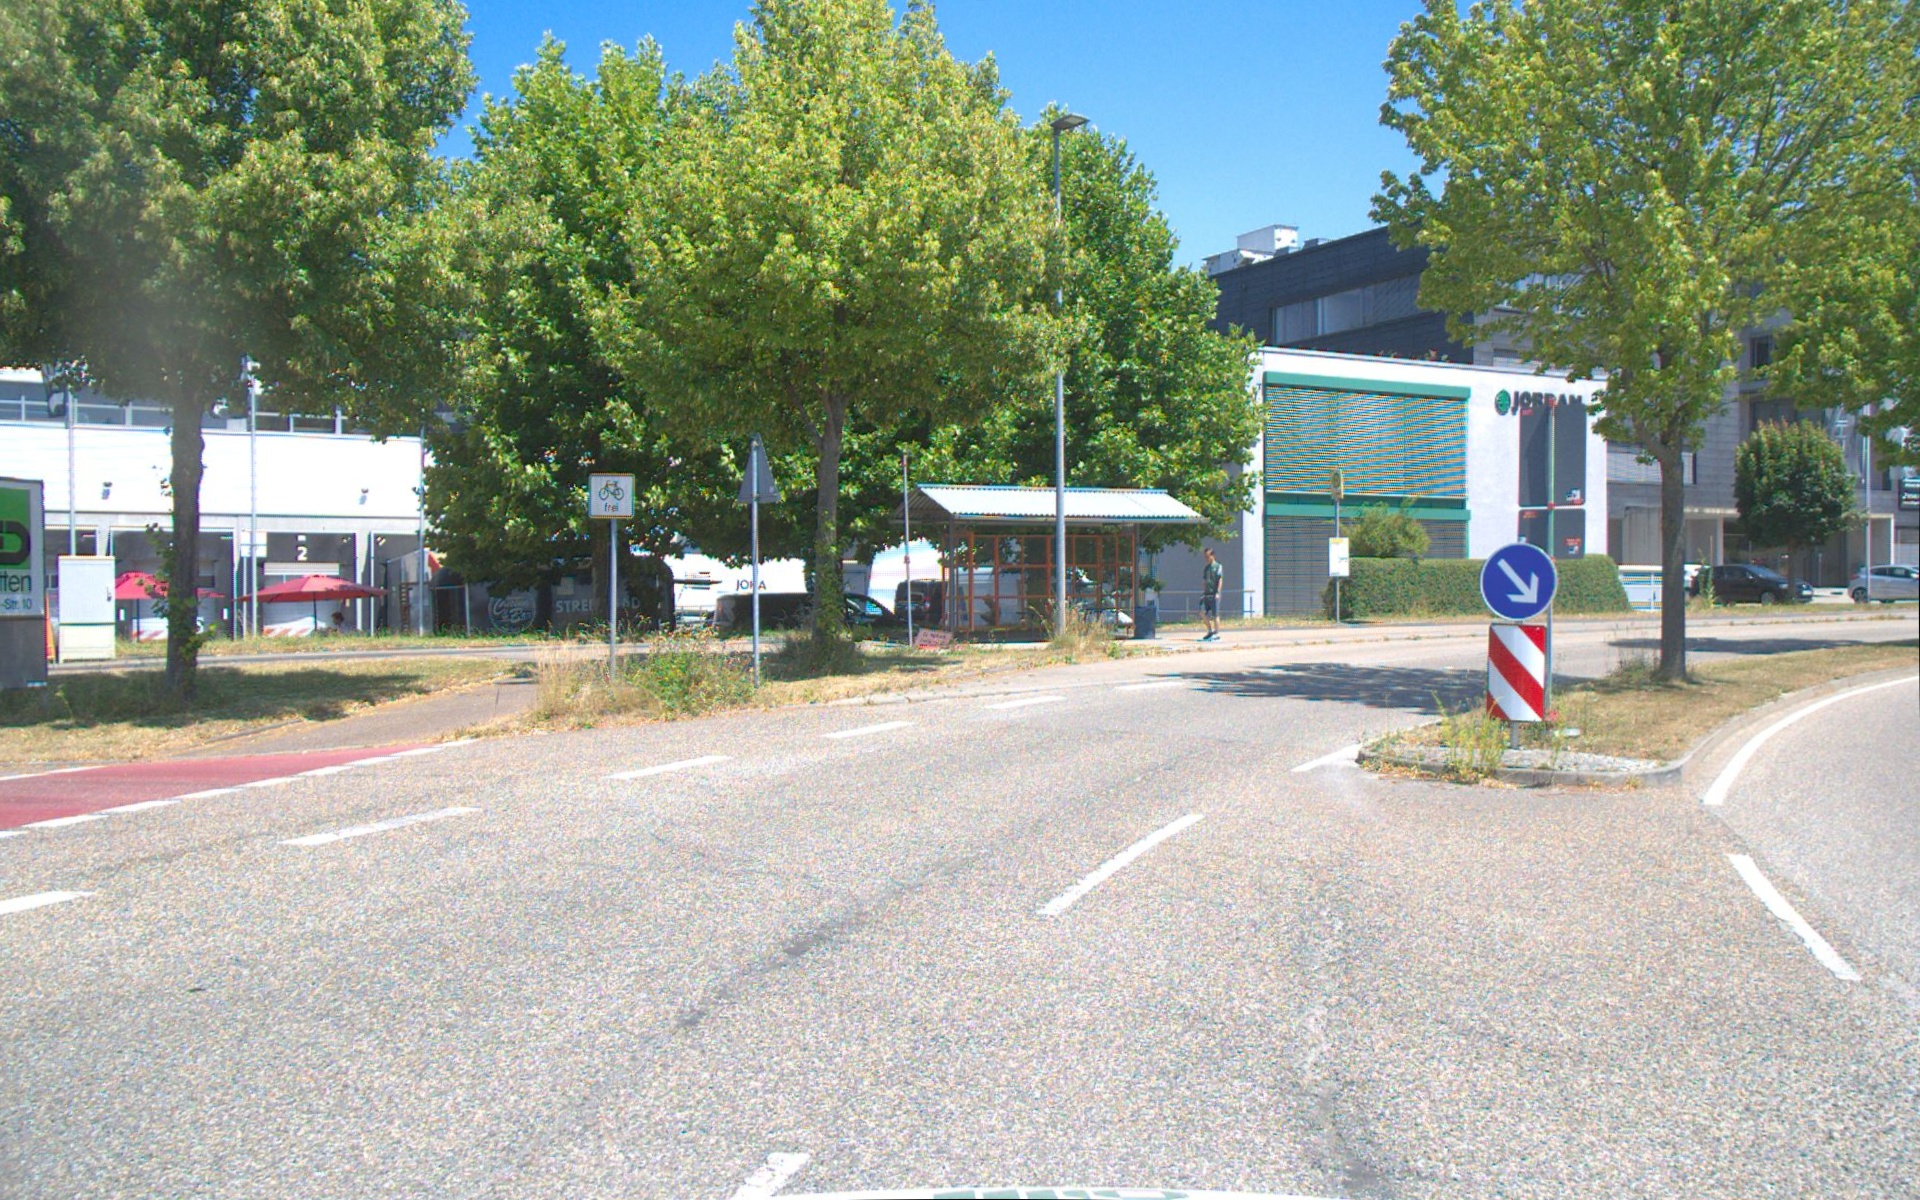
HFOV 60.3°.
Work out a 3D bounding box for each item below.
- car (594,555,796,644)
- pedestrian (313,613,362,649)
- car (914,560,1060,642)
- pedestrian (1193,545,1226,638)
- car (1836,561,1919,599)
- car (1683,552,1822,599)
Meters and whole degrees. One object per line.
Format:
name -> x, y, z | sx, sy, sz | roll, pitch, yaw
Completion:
car -> -5.760, -0.024, 35.987 | 3.940, 1.758, 1.824 | -2, 0, -27
pedestrian -> -12.868, 0.643, 34.202 | 0.847, 0.707, 0.407 | -2, 0, -5
car -> 0.669, 0.077, 43.561 | 1.534, 2.049, 4.205 | 2, -2, -39
pedestrian -> 4.646, -0.151, 30.847 | 0.518, 1.699, 0.579 | 0, -2, -1
car -> 34.030, -0.726, 59.626 | 1.472, 1.203, 4.234 | 1, -2, -29
car -> 26.091, -0.793, 54.551 | 1.682, 1.403, 3.880 | -2, 0, -29
